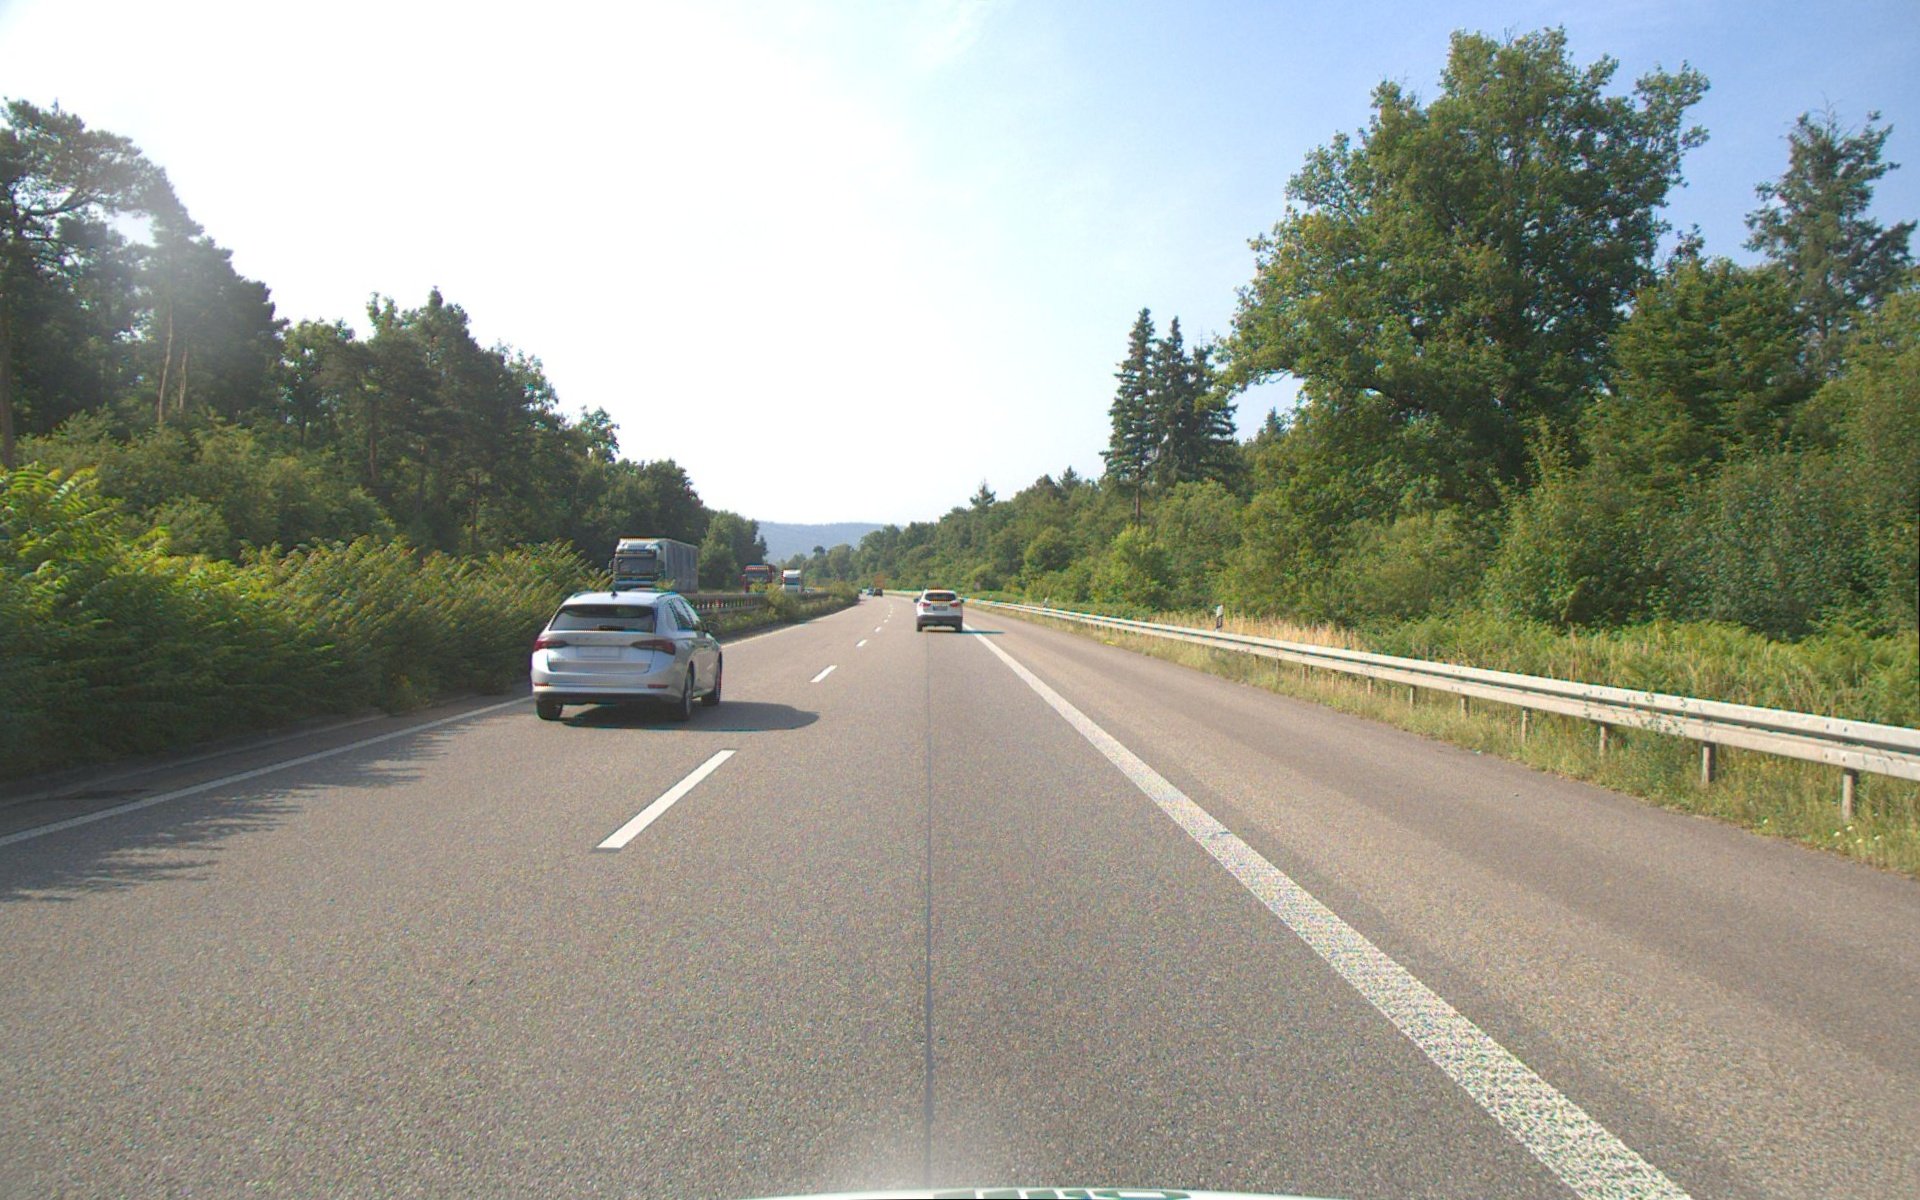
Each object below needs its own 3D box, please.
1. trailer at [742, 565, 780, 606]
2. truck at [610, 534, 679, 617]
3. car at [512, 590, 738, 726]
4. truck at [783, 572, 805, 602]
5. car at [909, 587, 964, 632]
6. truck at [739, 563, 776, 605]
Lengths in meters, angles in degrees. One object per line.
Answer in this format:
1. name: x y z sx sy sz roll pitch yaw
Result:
1. trailer: -20.731 -1.449 172.569 3.229 4.110 8.368 1 0 -3
2. truck: -16.931 -1.286 88.991 2.654 4.274 6.291 0 0 -2
3. car: -3.971 0.608 20.480 1.755 1.463 5.278 0 0 0
4. truck: -23.484 -1.819 233.675 2.781 4.269 5.543 0 0 -3
5. car: -0.950 0.344 64.188 1.837 1.614 3.997 3 0 -4
6. truck: -20.457 -1.545 167.473 3.201 4.110 6.229 1 0 -3
